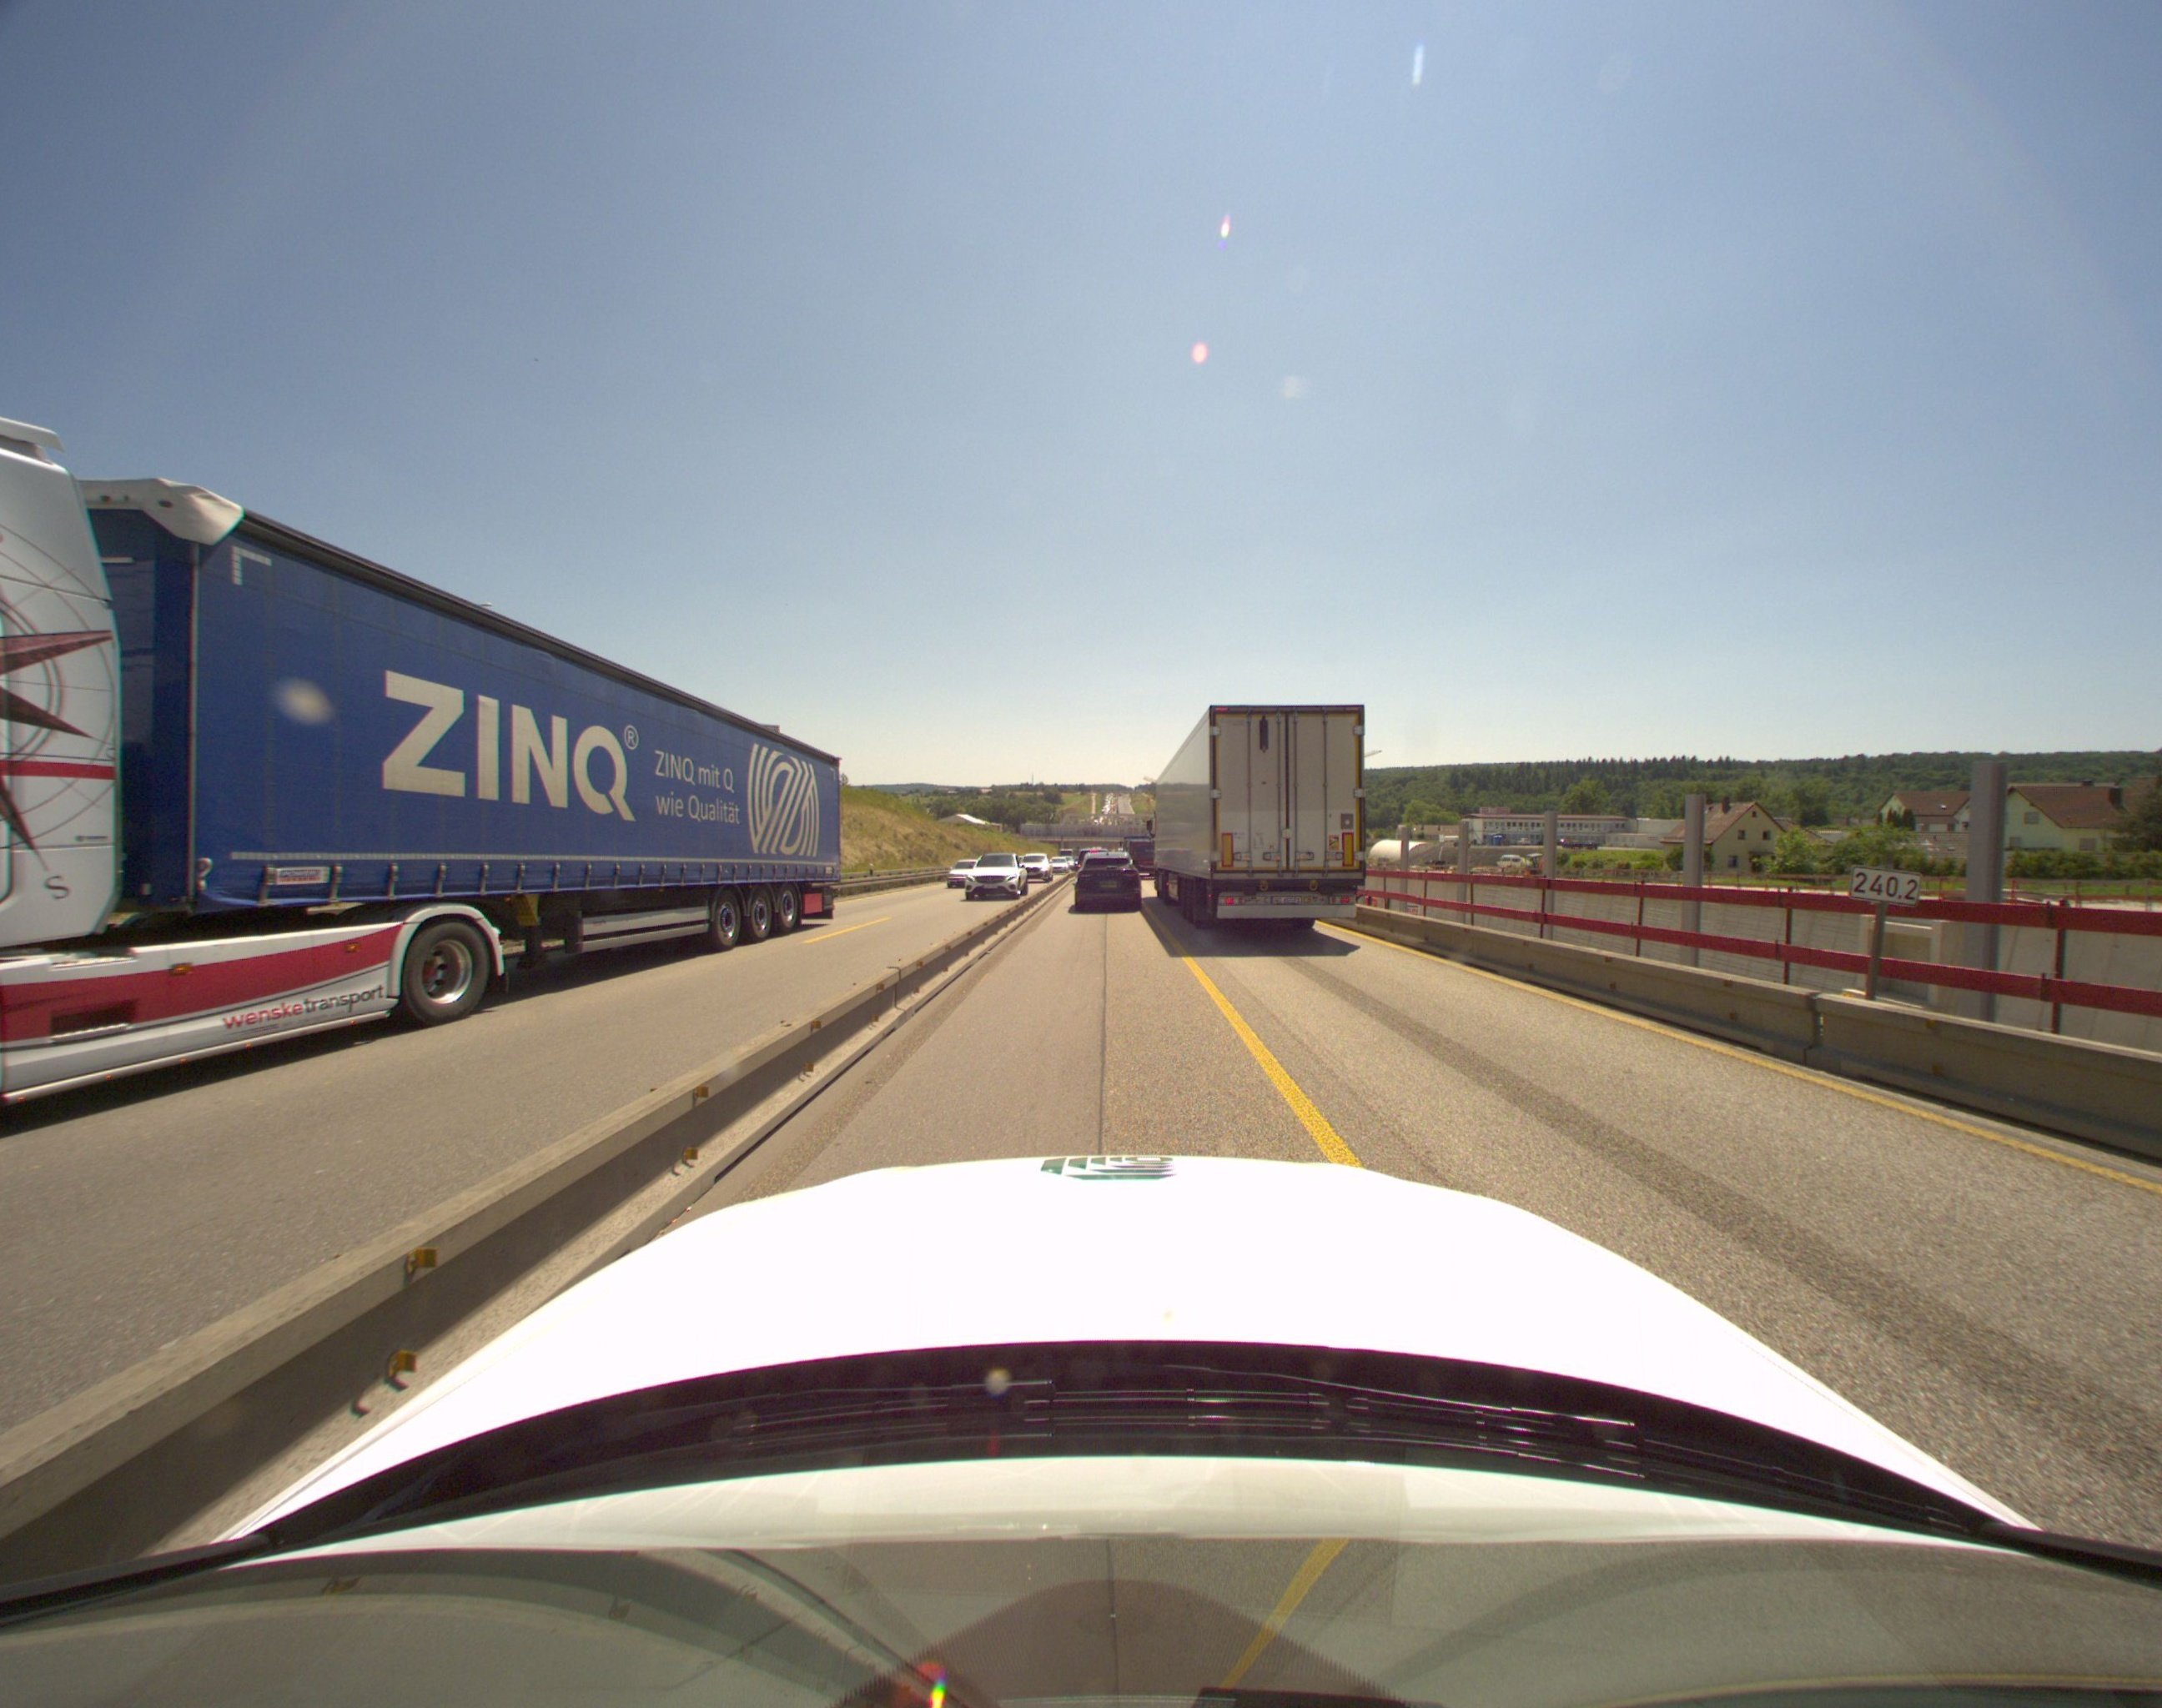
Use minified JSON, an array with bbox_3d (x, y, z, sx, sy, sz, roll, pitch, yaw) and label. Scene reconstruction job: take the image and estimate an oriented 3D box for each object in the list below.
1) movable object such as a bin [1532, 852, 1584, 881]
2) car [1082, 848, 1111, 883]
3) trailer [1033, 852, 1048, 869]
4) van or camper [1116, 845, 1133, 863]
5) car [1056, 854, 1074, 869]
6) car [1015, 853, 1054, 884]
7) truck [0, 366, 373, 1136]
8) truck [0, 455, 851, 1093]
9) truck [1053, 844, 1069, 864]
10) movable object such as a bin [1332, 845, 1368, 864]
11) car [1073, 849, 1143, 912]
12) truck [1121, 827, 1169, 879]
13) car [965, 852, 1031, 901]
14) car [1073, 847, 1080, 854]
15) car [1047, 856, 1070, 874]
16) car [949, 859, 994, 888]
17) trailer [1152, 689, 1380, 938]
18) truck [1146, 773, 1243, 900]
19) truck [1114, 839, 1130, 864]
[{"bbox_3d":[39.134,0.993,66.983,1.986,2.239,4.154,0,0,2],"label":"movable object such as a bin"},{"bbox_3d":[0.861,0.601,44.096,1.469,1.795,3.299,-1,0,2],"label":"car"},{"bbox_3d":[-4.817,0.744,97.438,1.642,2.025,4.268,-1,0,-1],"label":"trailer"},{"bbox_3d":[5.384,-0.013,100.177,1.986,2.244,4.002,1,0,2],"label":"van or camper"},{"bbox_3d":[-1.690,0.829,88.371,1.809,1.592,4.290,0,0,1],"label":"car"},{"bbox_3d":[-2.656,0.805,47.517,1.884,1.708,4.562,0,0,1],"label":"car"},{"bbox_3d":[-7.439,-0.545,4.509,3.227,4.160,4.248,-1,0,1],"label":"truck"},{"bbox_3d":[-7.267,-0.511,12.319,3.231,4.160,13.982,-1,0,1],"label":"truck"},{"bbox_3d":[-3.865,0.034,157.575,2.577,3.723,9.335,-1,0,2],"label":"truck"},{"bbox_3d":[41.840,0.096,127.022,2.876,2.909,9.484,0,0,2],"label":"movable object such as a bin"},{"bbox_3d":[0.742,0.675,22.815,1.794,1.620,3.299,-1,0,2],"label":"car"},{"bbox_3d":[4.284,-0.026,56.807,2.803,3.135,12.844,-1,0,2],"label":"truck"},{"bbox_3d":[-2.962,0.775,29.950,1.805,1.638,4.365,-1,0,2],"label":"car"},{"bbox_3d":[-1.120,-0.916,212.206,1.726,1.794,3.581,0,0,1],"label":"car"},{"bbox_3d":[-1.874,0.925,69.295,1.800,1.477,4.281,0,0,1],"label":"car"},{"bbox_3d":[-5.484,0.940,41.187,1.695,1.378,3.967,0,0,1],"label":"car"},{"bbox_3d":[3.650,-0.609,20.431,2.791,4.058,14.120,-1,0,1],"label":"trailer"},{"bbox_3d":[3.857,-0.553,28.705,2.766,4.058,4.905,-1,-1,1],"label":"truck"},{"bbox_3d":[6.875,-0.418,136.754,2.509,3.959,7.601,1,0,1],"label":"truck"}]
